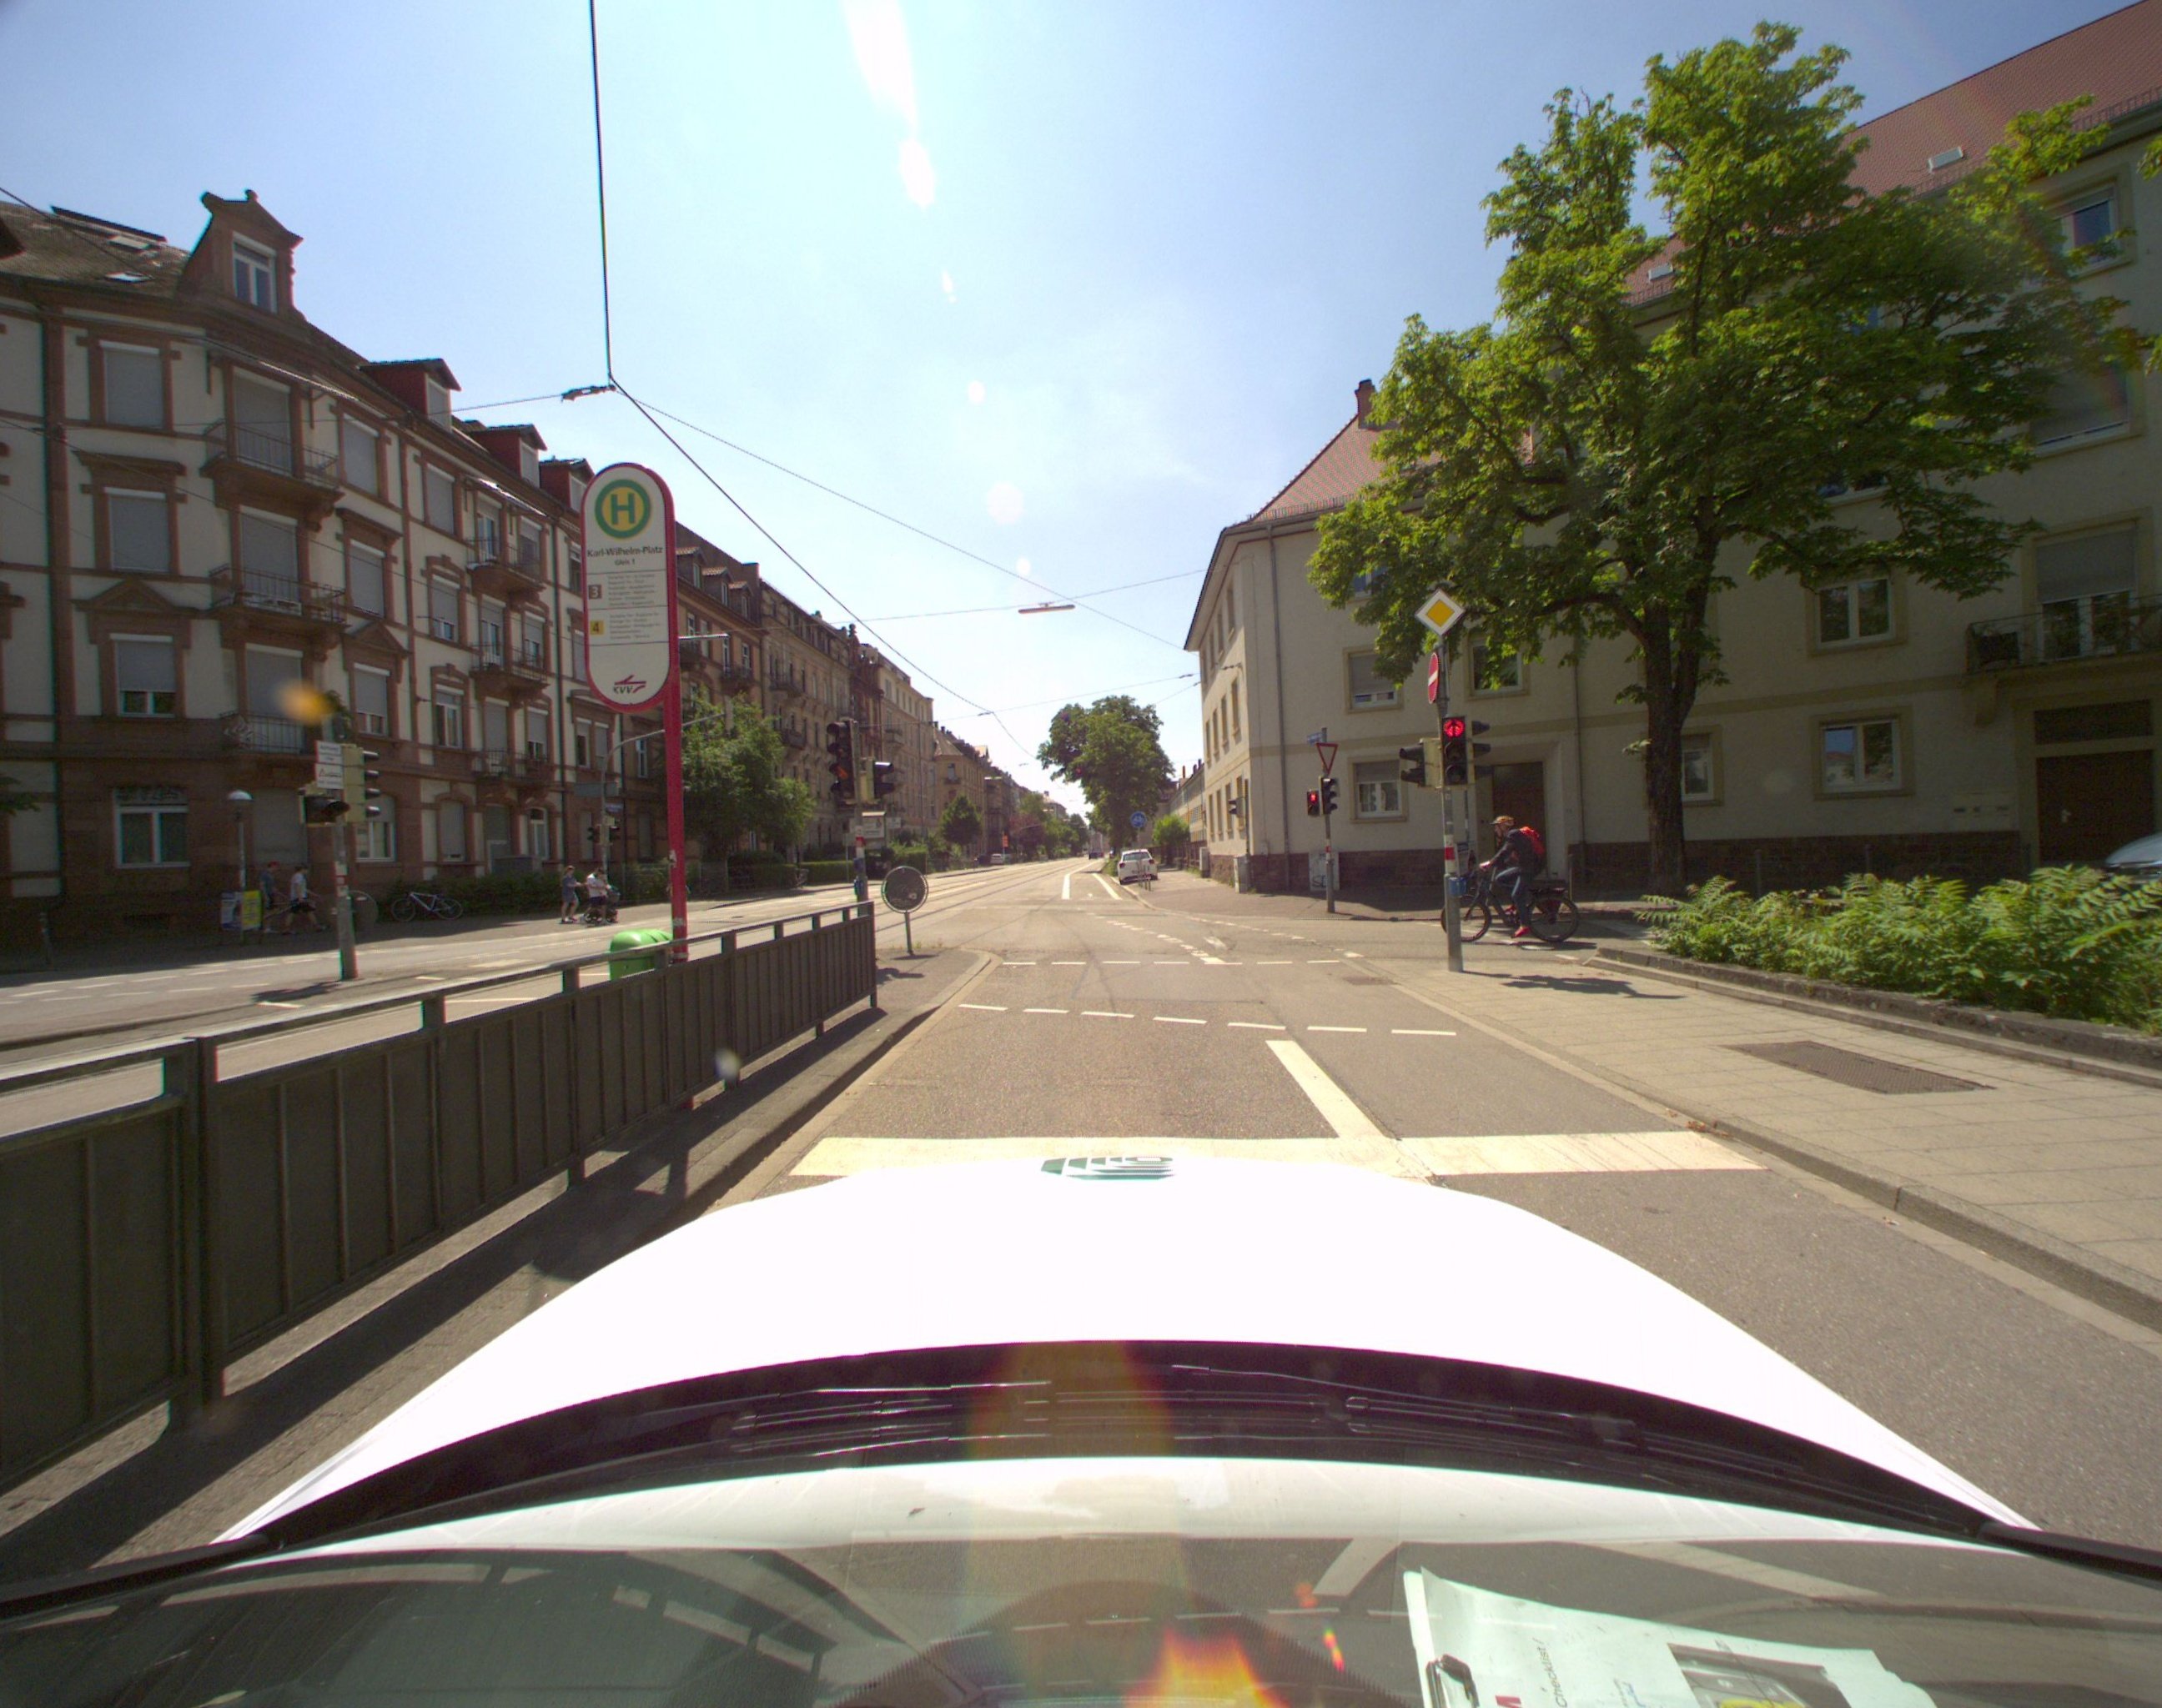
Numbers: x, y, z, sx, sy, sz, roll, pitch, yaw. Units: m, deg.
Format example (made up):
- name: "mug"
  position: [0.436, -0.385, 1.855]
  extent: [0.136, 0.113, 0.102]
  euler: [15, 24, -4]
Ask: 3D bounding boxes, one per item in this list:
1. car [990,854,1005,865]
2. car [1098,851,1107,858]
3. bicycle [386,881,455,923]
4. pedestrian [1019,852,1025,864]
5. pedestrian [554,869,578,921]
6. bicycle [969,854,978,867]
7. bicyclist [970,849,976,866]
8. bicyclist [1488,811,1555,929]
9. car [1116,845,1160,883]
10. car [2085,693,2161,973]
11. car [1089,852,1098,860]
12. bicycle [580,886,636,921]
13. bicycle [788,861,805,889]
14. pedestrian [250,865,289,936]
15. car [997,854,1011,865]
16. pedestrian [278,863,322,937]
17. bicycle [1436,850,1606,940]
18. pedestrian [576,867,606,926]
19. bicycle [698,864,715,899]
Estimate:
- name: "car"
  position: [-11.883, 0.778, 116.091]
  extent: [1.679, 1.472, 3.937]
  euler: [-5, 0, 0]
- name: "car"
  position: [4.802, 0.194, 183.209]
  extent: [1.741, 1.472, 3.939]
  euler: [-5, 0, 1]
- name: "bicycle"
  position: [-19.502, 1.400, 24.059]
  extent: [1.522, 1.169, 0.362]
  euler: [-1, 1, -25]
- name: "pedestrian"
  position: [-8.993, 0.591, 124.137]
  extent: [0.675, 1.727, 0.677]
  euler: [-1, -1, 1]
- name: "pedestrian"
  position: [-15.249, 1.202, 24.099]
  extent: [0.510, 1.516, 0.464]
  euler: [-1, -1, -40]
- name: "bicycle"
  position: [-11.662, 0.729, 88.428]
  extent: [0.575, 1.388, 2.502]
  euler: [-1, 0, 2]
- name: "bicyclist"
  position: [-11.684, 0.380, 88.328]
  extent: [0.540, 1.763, 0.498]
  euler: [-1, -1, 1]
- name: "bicyclist"
  position: [6.353, 0.231, 11.771]
  extent: [0.688, 1.646, 0.582]
  euler: [-2, -1, 15]
- name: "car"
  position: [2.549, 0.439, 37.273]
  extent: [1.741, 1.472, 3.939]
  euler: [-5, 0, 1]
- name: "car"
  position: [12.290, -0.281, 6.183]
  extent: [2.010, 2.590, 5.784]
  euler: [-2, 0, -37]
- name: "car"
  position: [2.423, 0.369, 157.089]
  extent: [1.519, 1.444, 3.367]
  euler: [-4, 0, 2]
- name: "bicycle"
  position: [-14.126, 1.472, 24.350]
  extent: [1.410, 1.013, 0.384]
  euler: [1, -2, -38]
- name: "bicycle"
  position: [-14.429, 1.066, 41.269]
  extent: [0.594, 1.356, 2.420]
  euler: [-1, 0, -24]
- name: "pedestrian"
  position: [-20.665, 1.176, 20.749]
  extent: [0.508, 1.768, 0.525]
  euler: [-1, -1, -20]
- name: "car"
  position: [-11.774, 0.799, 124.248]
  extent: [1.623, 1.472, 3.563]
  euler: [-5, 0, 0]
- name: "pedestrian"
  position: [-20.046, 1.164, 20.913]
  extent: [0.565, 1.825, 0.631]
  euler: [-1, -1, -20]
- name: "bicycle"
  position: [6.317, 0.592, 11.804]
  extent: [2.065, 1.236, 0.583]
  euler: [-2, -1, 14]
- name: "pedestrian"
  position: [-14.033, 1.204, 23.313]
  extent: [0.657, 1.615, 0.464]
  euler: [-1, 2, -40]
- name: "bicycle"
  position: [-15.625, 1.140, 33.997]
  extent: [0.617, 1.395, 2.289]
  euler: [-1, 0, -24]
